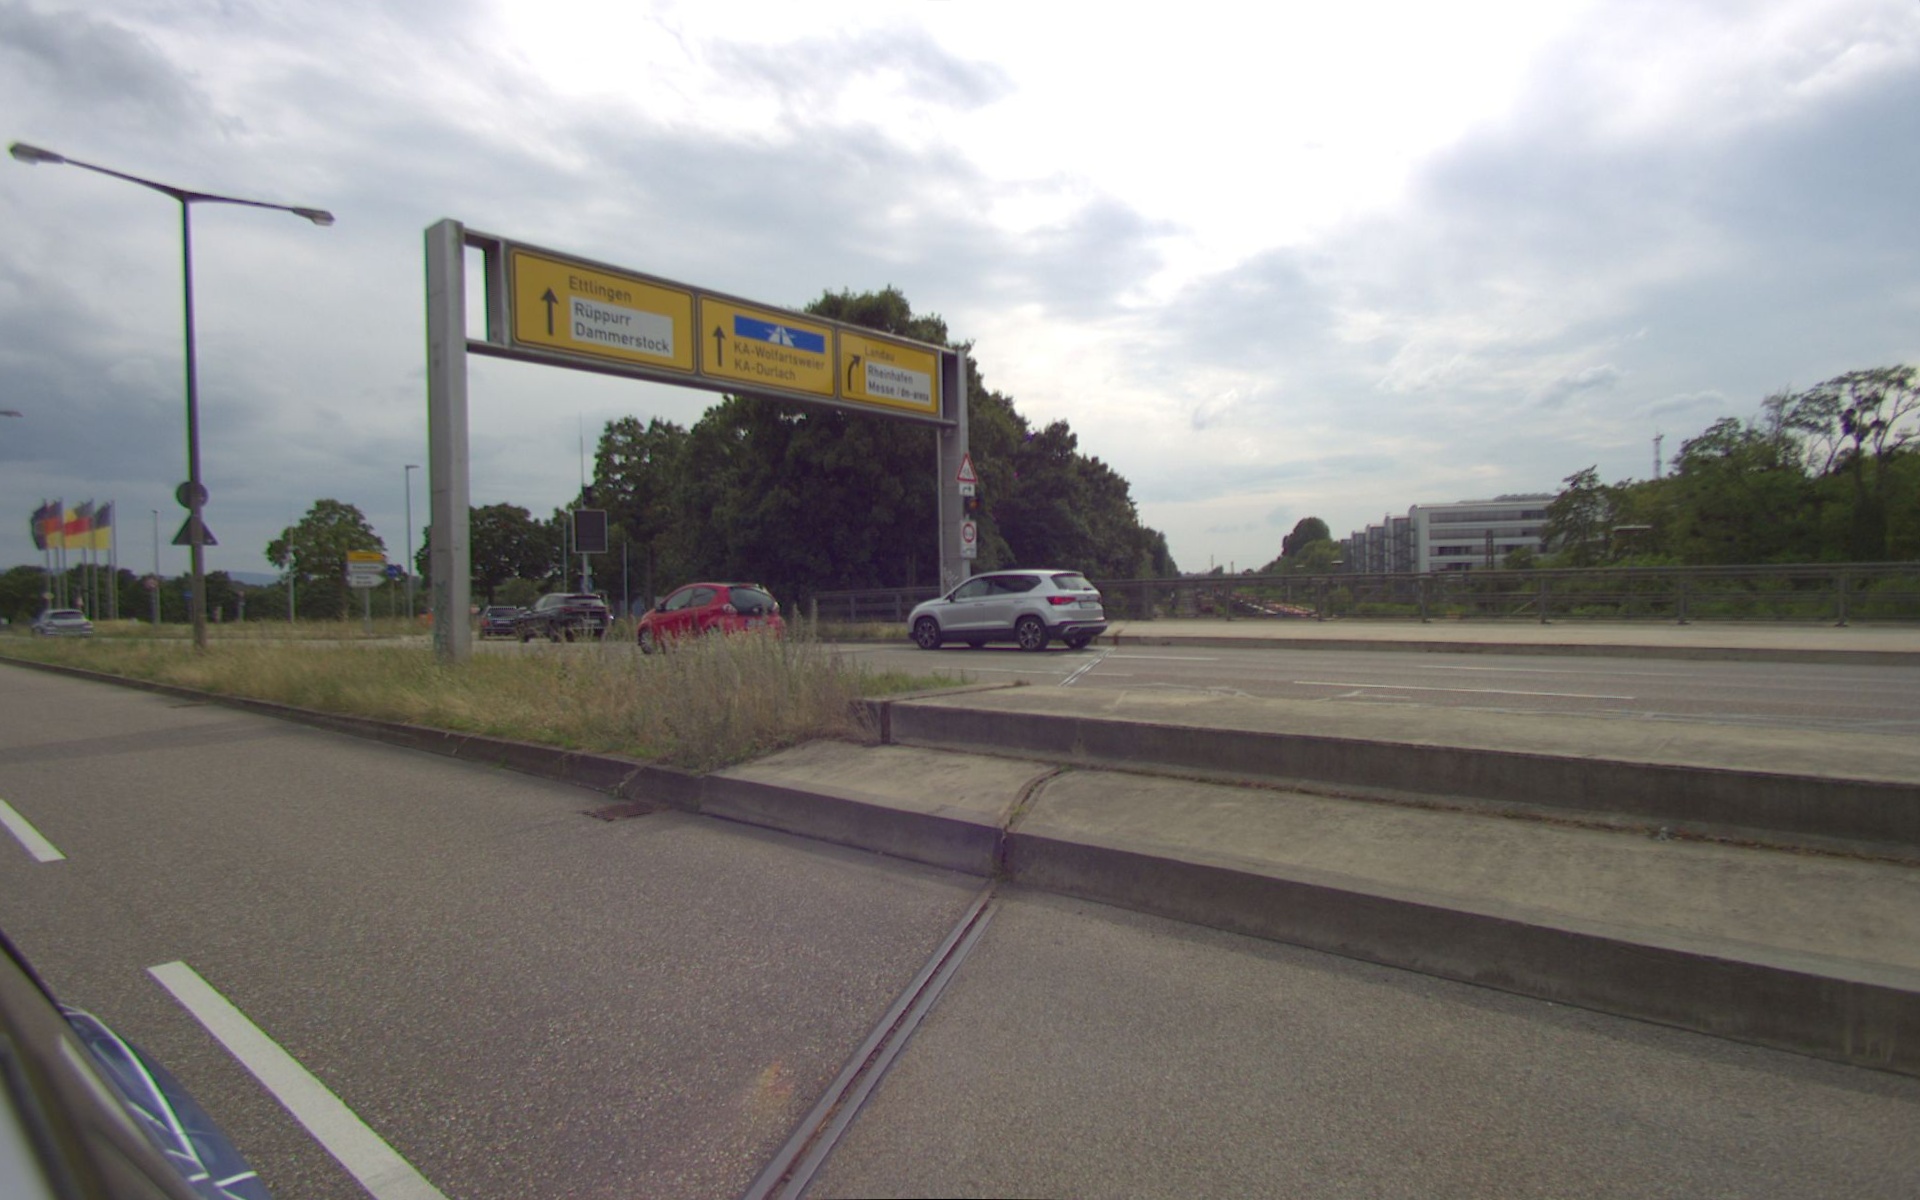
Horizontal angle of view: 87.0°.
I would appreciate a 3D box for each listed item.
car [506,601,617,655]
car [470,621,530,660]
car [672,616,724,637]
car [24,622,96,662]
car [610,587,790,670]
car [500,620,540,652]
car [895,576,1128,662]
[{"bbox_3d":[-13.320,0.960,33.665,1.864,1.619,4.765,-2,-1,-42],"label":"car"},{"bbox_3d":[-19.775,1.787,43.389,1.861,1.539,4.681,2,-4,-30],"label":"car"},{"bbox_3d":[-19.924,2.023,77.056,1.984,1.293,3.977,-3,1,18],"label":"car"},{"bbox_3d":[-40.122,1.868,45.073,3.872,1.619,1.754,-3,-1,39],"label":"car"},{"bbox_3d":[-5.493,0.554,21.195,3.915,1.543,1.705,-1,1,41],"label":"car"},{"bbox_3d":[-23.351,1.900,53.783,1.792,1.619,3.909,2,-3,-22],"label":"car"},{"bbox_3d":[0.957,0.341,20.332,4.450,1.543,1.868,-1,1,41],"label":"car"}]
